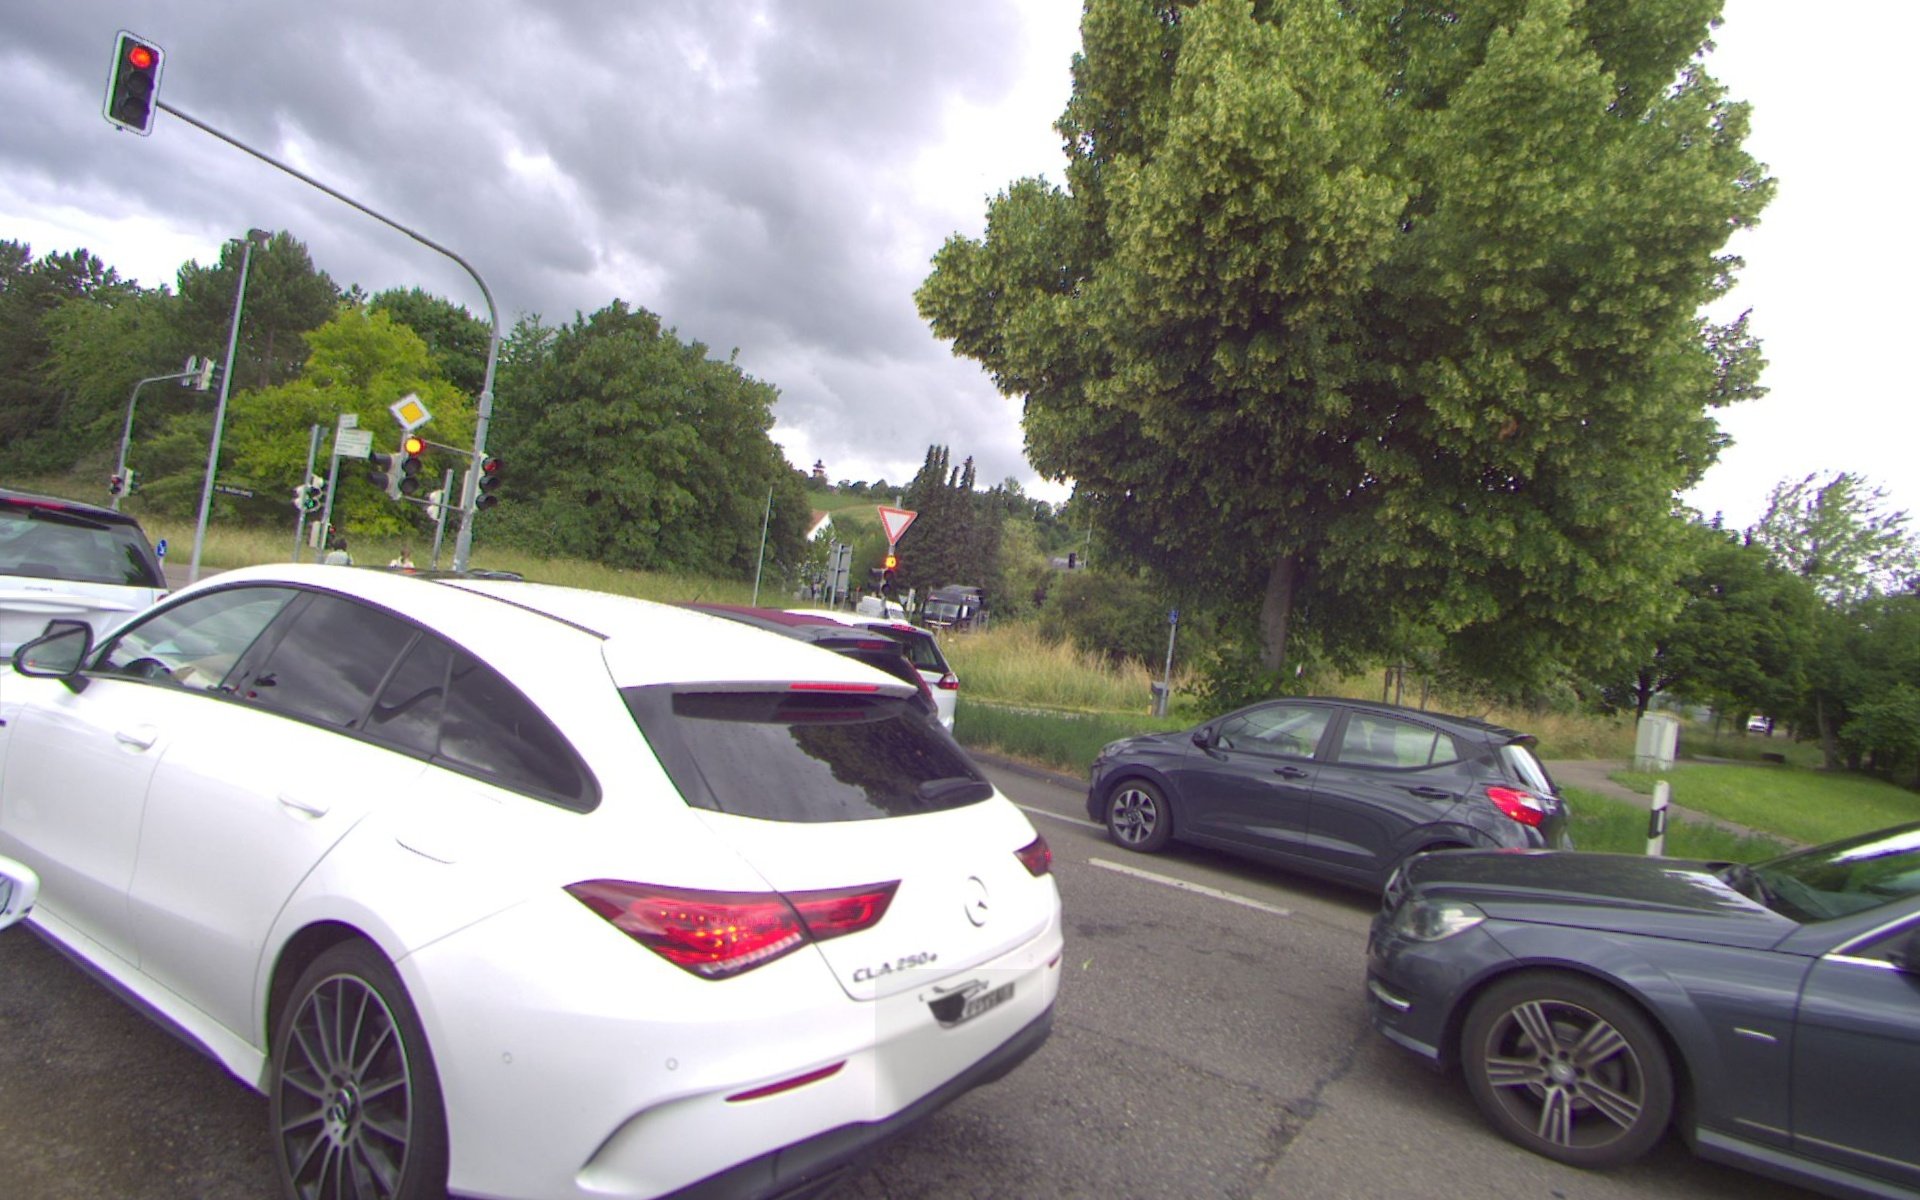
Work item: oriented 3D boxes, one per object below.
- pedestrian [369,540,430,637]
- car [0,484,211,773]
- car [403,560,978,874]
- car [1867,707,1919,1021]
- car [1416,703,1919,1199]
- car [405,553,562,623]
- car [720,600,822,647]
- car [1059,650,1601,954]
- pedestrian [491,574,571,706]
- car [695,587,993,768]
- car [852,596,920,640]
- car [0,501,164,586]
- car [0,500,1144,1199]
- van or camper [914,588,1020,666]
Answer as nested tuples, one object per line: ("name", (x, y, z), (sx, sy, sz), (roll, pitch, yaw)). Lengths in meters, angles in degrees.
("pedestrian", (-10.186, -0.201, 18.282), (0.605, 1.653, 0.610), (7, -1, 41))
("car", (-6.104, 0.044, 6.104), (2.626, 1.522, 1.538), (7, -1, 32))
("car", (-2.020, 0.668, 7.172), (3.933, 1.420, 1.548), (7, -1, 31))
("car", (7.674, 1.776, 4.888), (4.432, 1.825, 1.828), (7, -1, 33))
("car", (3.935, 1.402, 3.250), (4.144, 1.452, 1.828), (7, -1, 33))
("car", (-15.033, -0.354, 31.925), (1.809, 1.620, 3.992), (7, -2, 34))
("car", (-7.913, 1.005, 42.389), (1.662, 1.465, 3.988), (6, -2, 38))
("car", (2.781, 1.428, 7.958), (3.589, 1.451, 1.516), (7, -5, 40))
("pedestrian", (-5.033, 0.478, 11.807), (0.349, 1.470, 0.610), (7, -1, 40))
("car", (-1.658, 0.895, 12.955), (1.696, 1.656, 4.200), (11, -3, -38))
("car", (-6.005, 1.411, 81.436), (2.173, 2.570, 5.703), (9, 1, -41))
("car", (-21.036, -1.389, 22.626), (1.970, 1.478, 4.493), (7, -2, 37))
("car", (-1.787, 0.589, 3.387), (4.285, 1.438, 1.724), (7, -1, 32))
("van or camper", (0.524, 1.631, 56.494), (2.704, 3.621, 7.271), (6, -2, 26))
